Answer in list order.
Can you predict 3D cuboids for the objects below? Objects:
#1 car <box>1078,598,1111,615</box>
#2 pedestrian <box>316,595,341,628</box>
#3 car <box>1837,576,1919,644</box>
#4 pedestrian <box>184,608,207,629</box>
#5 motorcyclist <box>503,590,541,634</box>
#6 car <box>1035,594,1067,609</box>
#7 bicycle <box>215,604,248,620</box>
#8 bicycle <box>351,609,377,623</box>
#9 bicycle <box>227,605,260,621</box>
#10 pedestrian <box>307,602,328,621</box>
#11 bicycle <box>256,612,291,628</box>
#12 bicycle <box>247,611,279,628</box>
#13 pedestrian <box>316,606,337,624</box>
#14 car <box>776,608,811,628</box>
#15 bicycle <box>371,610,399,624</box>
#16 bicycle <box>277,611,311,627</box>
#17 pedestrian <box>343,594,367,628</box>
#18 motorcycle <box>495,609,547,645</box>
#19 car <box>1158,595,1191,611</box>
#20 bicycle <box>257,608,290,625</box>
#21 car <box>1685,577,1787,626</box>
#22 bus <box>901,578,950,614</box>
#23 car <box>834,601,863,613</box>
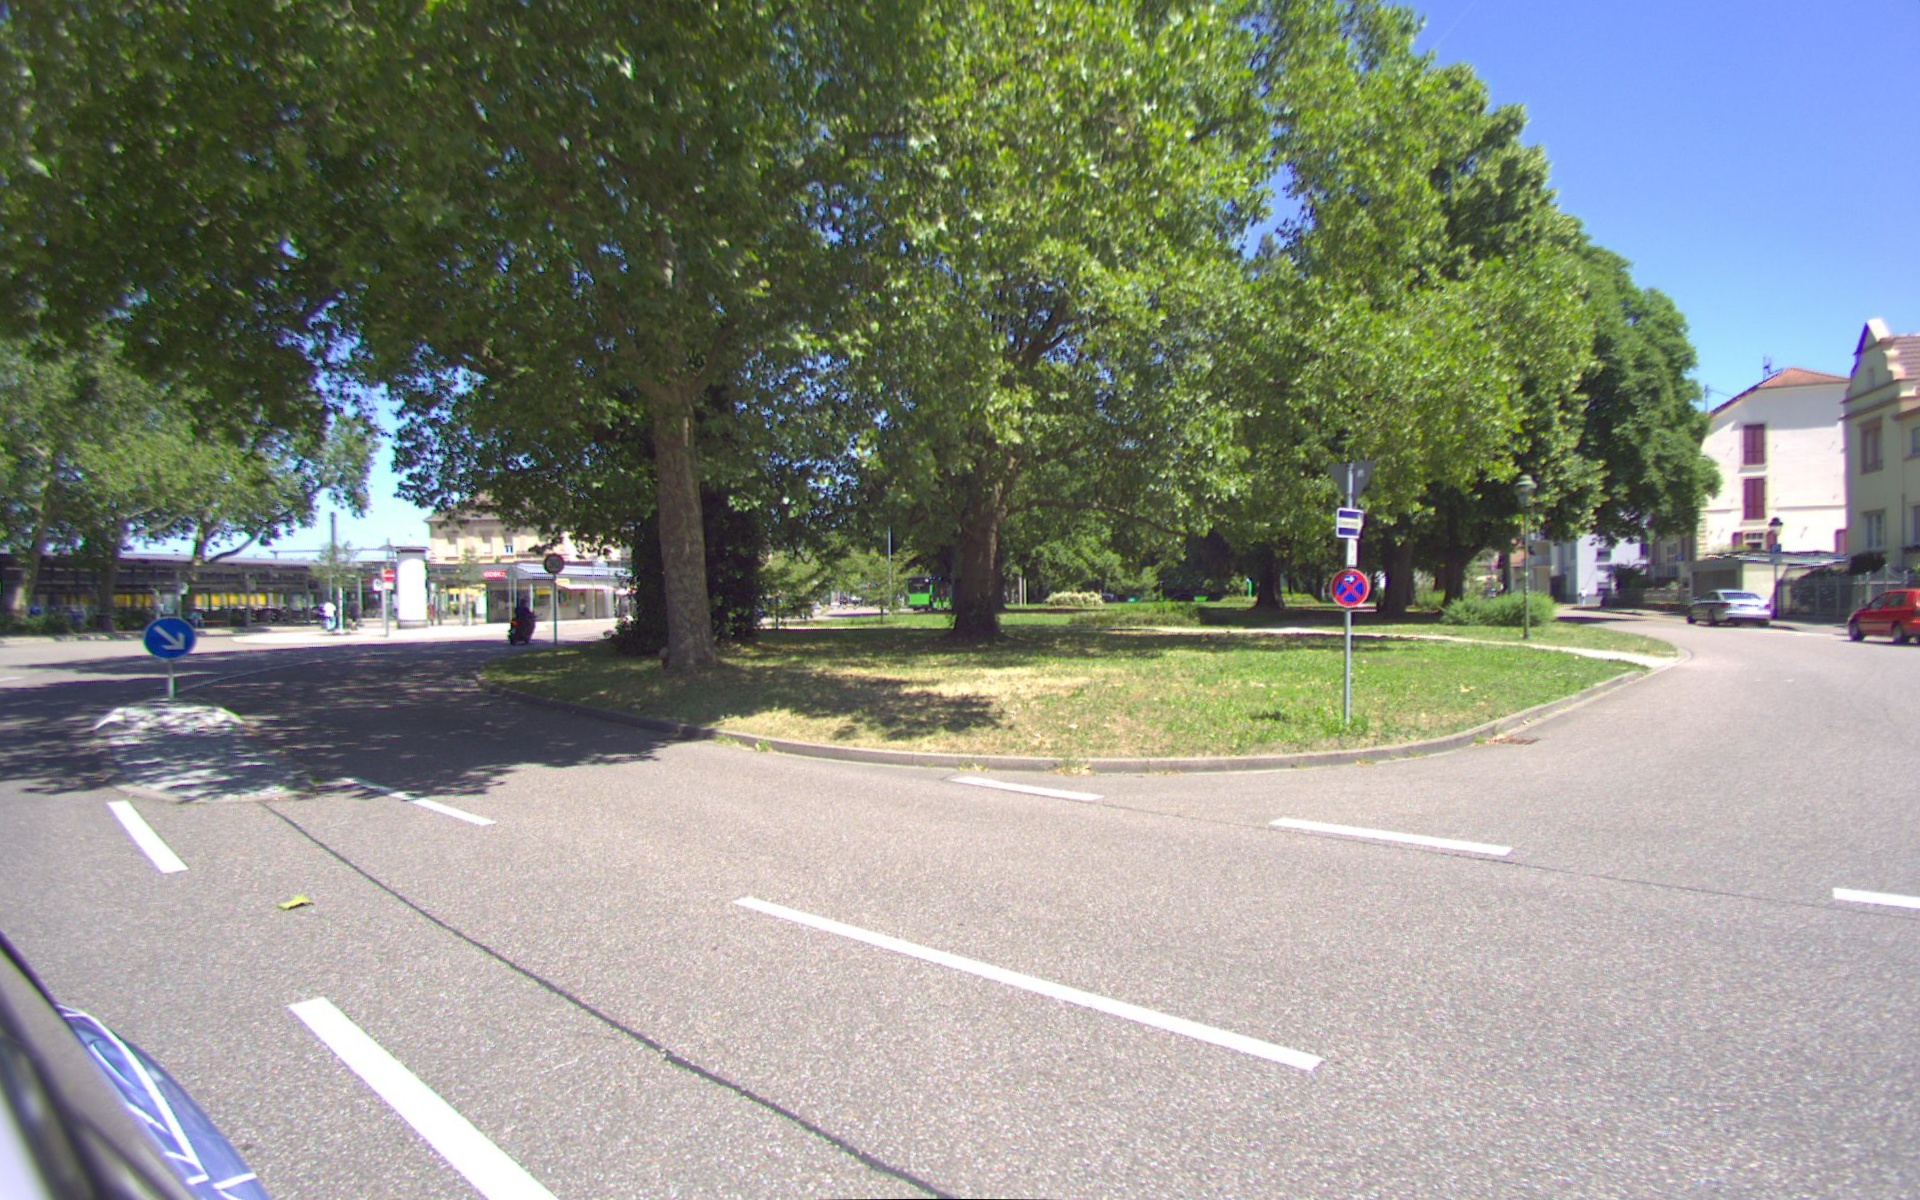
[{"bbox_3d":[17.298,0.816,130.185,3.959,2.029,1.992,-1,0,12],"label":"car"},{"bbox_3d":[-33.310,0.598,53.403,0.669,1.749,0.911,-1,0,13],"label":"pedestrian"},{"bbox_3d":[24.778,0.198,26.080,1.988,1.630,4.470,-1,0,24],"label":"car"},{"bbox_3d":[-48.267,1.150,63.894,0.821,1.284,0.866,-1,0,6],"label":"pedestrian"},{"bbox_3d":[-15.960,0.444,36.875,0.800,1.567,1.102,-1,0,7],"label":"motorcyclist"},{"bbox_3d":[11.814,0.155,131.764,3.959,1.817,1.992,-1,0,12],"label":"car"},{"bbox_3d":[-55.760,0.895,77.473,0.663,1.081,2.161,1,3,12],"label":"bicycle"},{"bbox_3d":[-51.162,1.378,86.917,0.663,1.081,2.161,1,3,12],"label":"bicycle"},{"bbox_3d":[-54.611,0.987,77.190,0.663,1.081,2.161,1,3,12],"label":"bicycle"},{"bbox_3d":[-46.785,0.833,73.717,0.952,1.396,0.828,-1,0,10],"label":"pedestrian"},{"bbox_3d":[-49.456,1.467,72.895,2.143,1.081,0.669,1,3,7],"label":"bicycle"},{"bbox_3d":[-52.965,1.478,76.921,0.663,1.081,2.161,1,3,12],"label":"bicycle"},{"bbox_3d":[-46.696,1.076,74.612,0.952,1.315,0.828,-1,0,10],"label":"pedestrian"},{"bbox_3d":[-11.839,1.274,72.223,1.624,1.428,3.996,0,-1,3],"label":"car"},{"bbox_3d":[-48.000,1.404,84.534,2.148,1.081,0.668,1,3,14],"label":"bicycle"},{"bbox_3d":[-49.130,1.380,74.631,2.143,1.081,0.669,1,3,7],"label":"bicycle"},{"bbox_3d":[-32.448,0.586,54.276,0.694,1.798,0.903,-1,0,40],"label":"pedestrian"},{"bbox_3d":[-15.955,0.952,36.855,0.800,1.241,2.046,-1,0,7],"label":"motorcycle"},{"bbox_3d":[27.324,0.375,128.761,3.955,2.029,1.994,-1,0,10],"label":"car"},{"bbox_3d":[-52.007,1.227,76.665,0.663,1.081,2.161,1,3,12],"label":"bicycle"},{"bbox_3d":[30.572,0.045,40.039,1.986,1.792,4.474,-1,0,21],"label":"car"},{"bbox_3d":[-3.311,-0.398,101.573,2.784,3.327,11.827,-1,0,8],"label":"bus"},{"bbox_3d":[-16.168,1.035,146.823,3.951,1.677,1.996,-1,0,6],"label":"car"}]
